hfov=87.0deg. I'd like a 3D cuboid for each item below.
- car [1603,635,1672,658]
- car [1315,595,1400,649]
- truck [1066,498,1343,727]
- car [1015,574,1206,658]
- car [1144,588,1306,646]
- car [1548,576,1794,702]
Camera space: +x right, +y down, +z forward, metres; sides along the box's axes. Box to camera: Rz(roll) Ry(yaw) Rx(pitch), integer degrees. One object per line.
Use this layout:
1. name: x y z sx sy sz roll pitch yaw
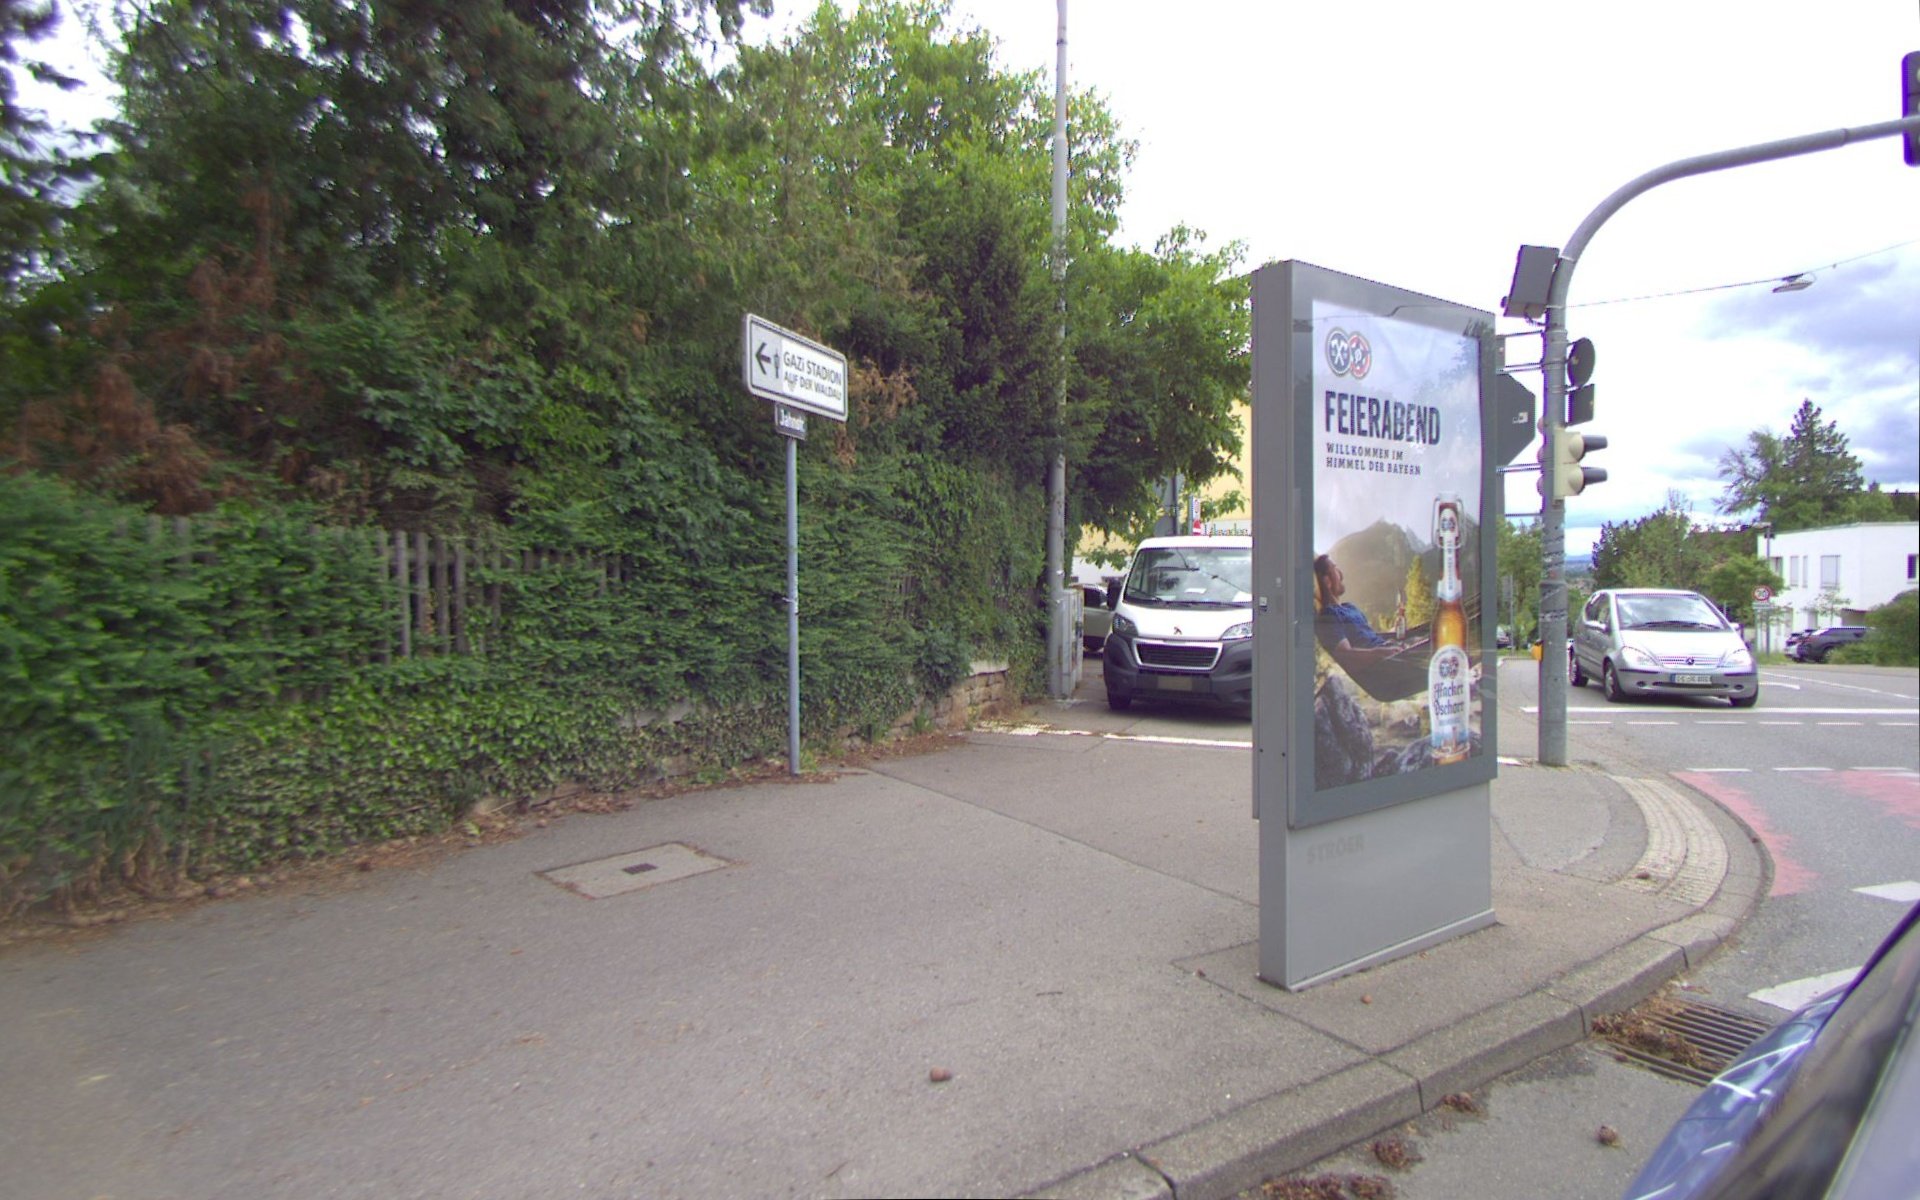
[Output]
1. car: 55.634 3.799 83.202 4.389 1.578 1.983 1 0 25
2. car: 12.348 0.711 31.297 1.860 1.512 3.838 0 -3 31
3. truck: 3.638 0.038 13.807 2.381 2.380 6.133 1 2 26
4. car: 3.242 0.289 22.472 1.834 1.660 4.066 1 1 -37
5. car: 7.763 0.492 29.844 4.211 1.548 1.903 1 -1 41
6. car: 10.409 0.506 15.206 1.975 1.616 3.974 0 0 19
